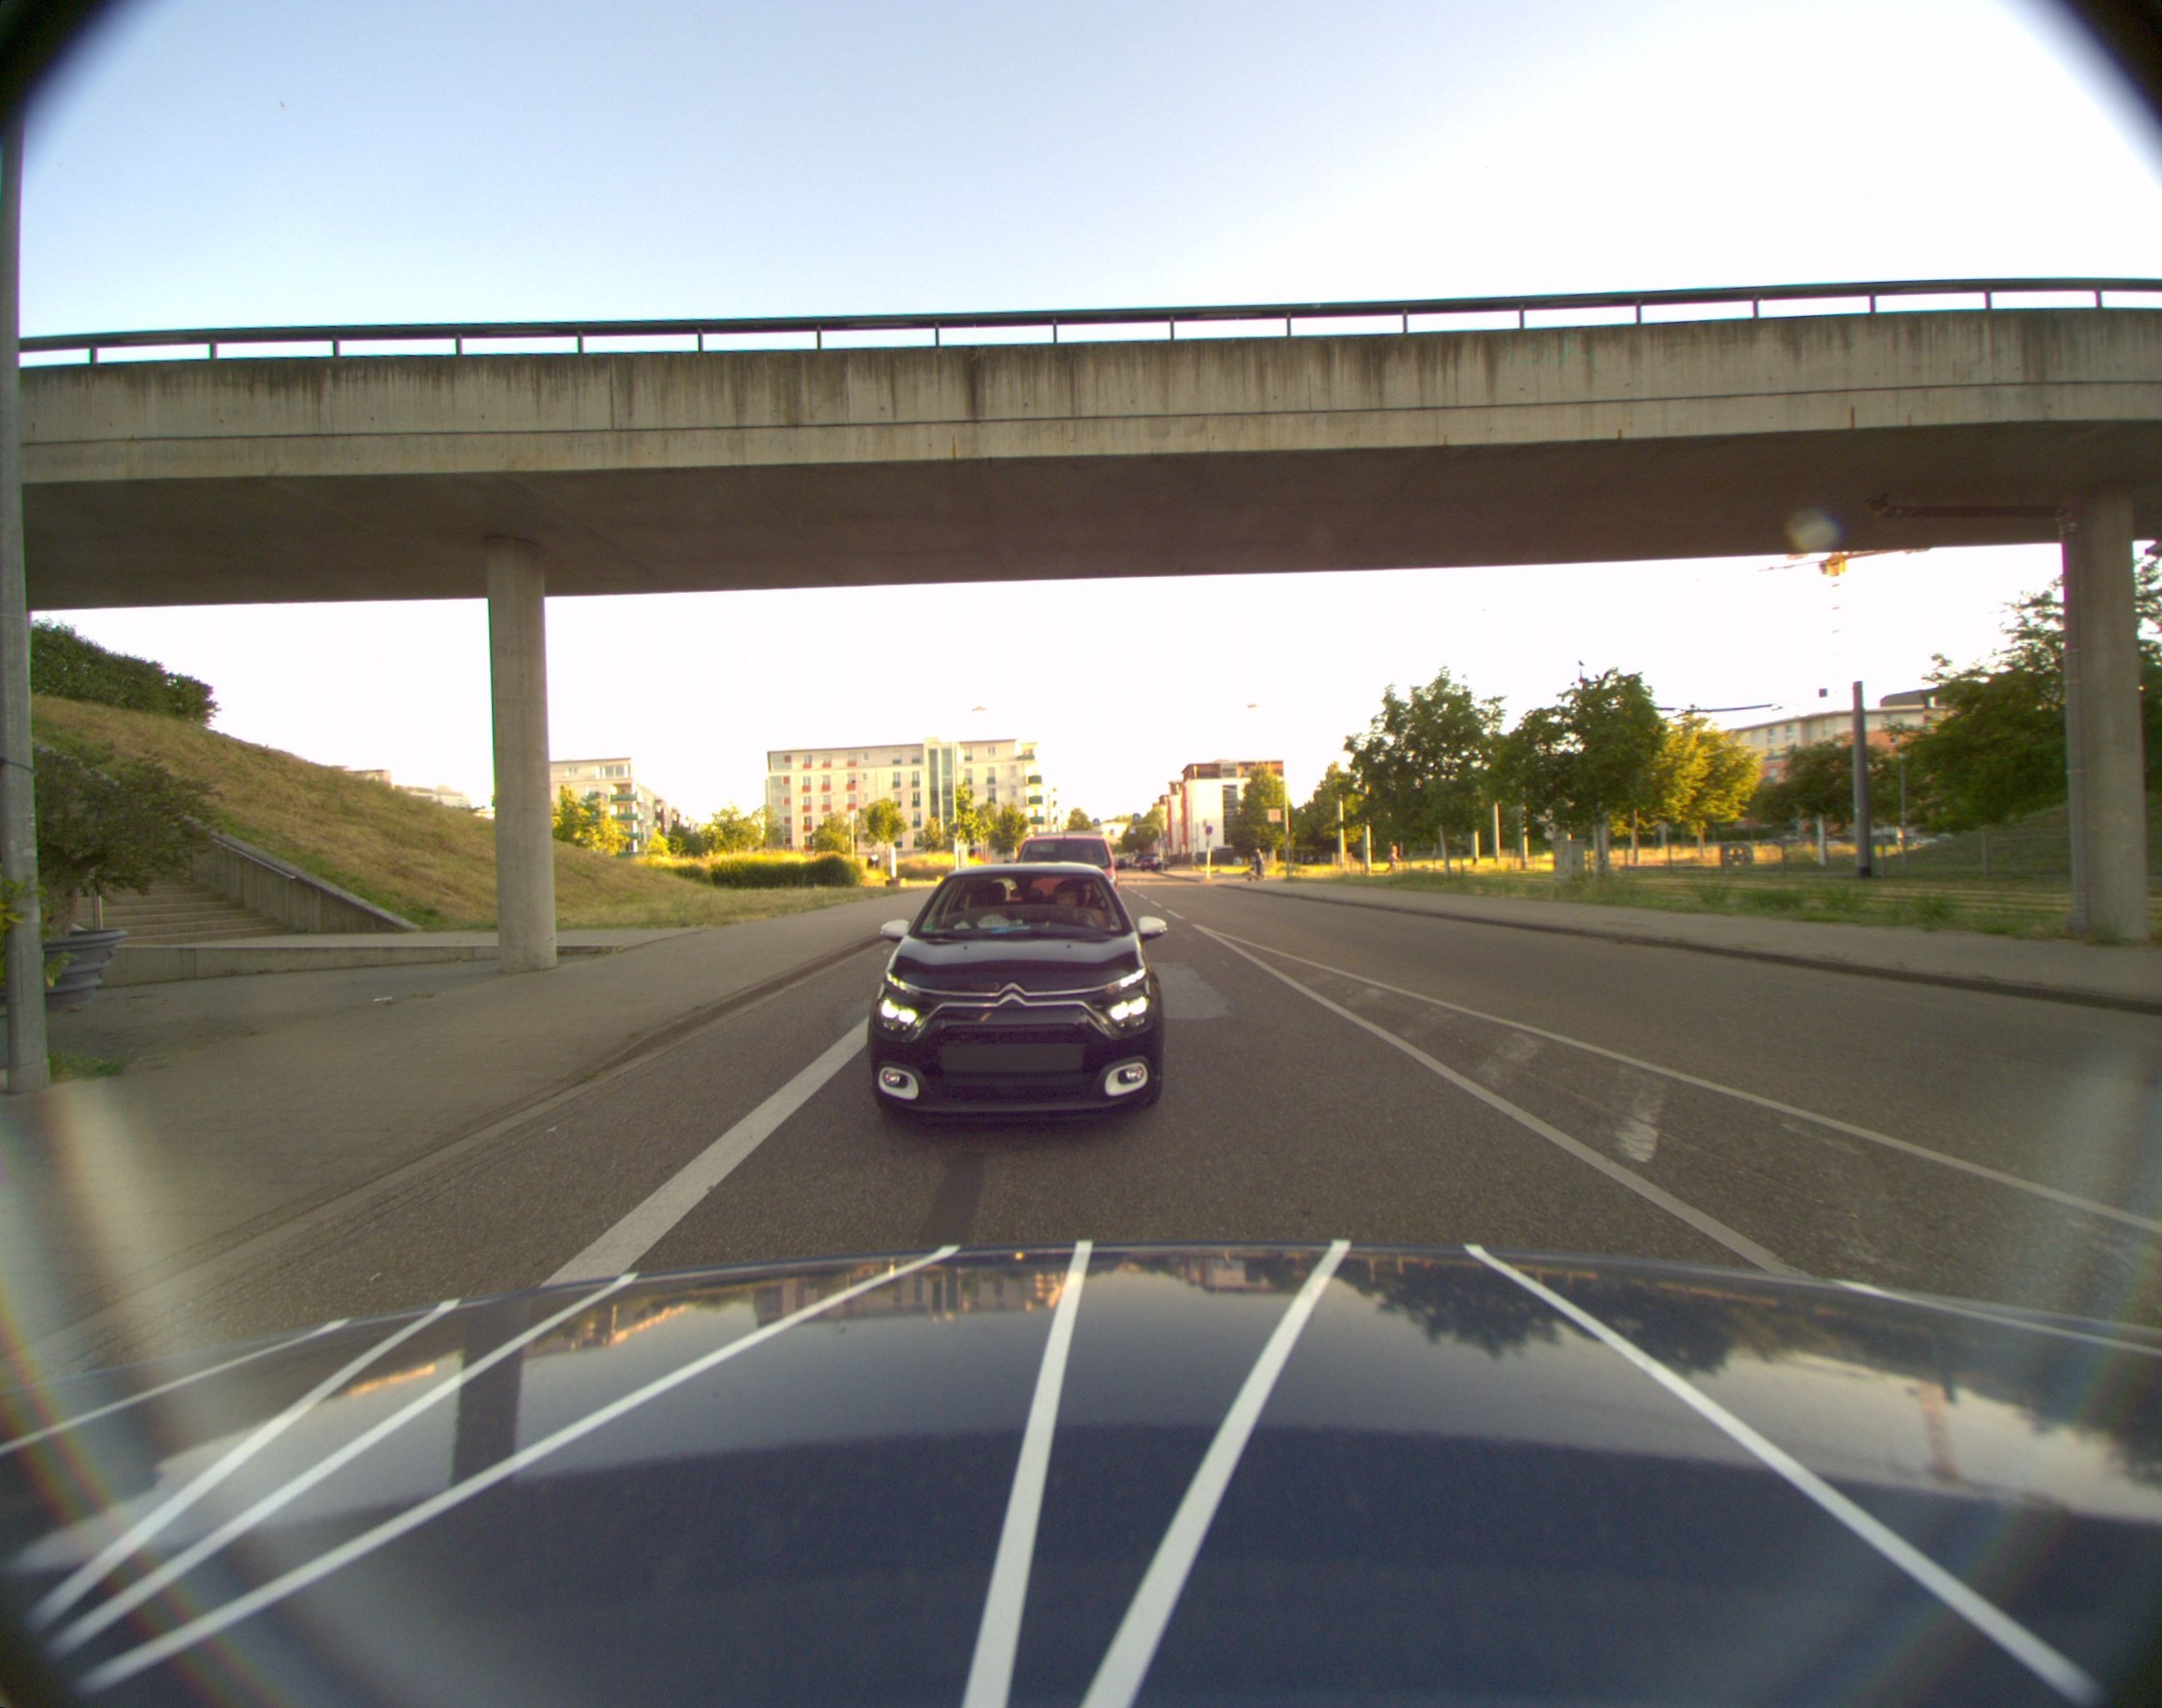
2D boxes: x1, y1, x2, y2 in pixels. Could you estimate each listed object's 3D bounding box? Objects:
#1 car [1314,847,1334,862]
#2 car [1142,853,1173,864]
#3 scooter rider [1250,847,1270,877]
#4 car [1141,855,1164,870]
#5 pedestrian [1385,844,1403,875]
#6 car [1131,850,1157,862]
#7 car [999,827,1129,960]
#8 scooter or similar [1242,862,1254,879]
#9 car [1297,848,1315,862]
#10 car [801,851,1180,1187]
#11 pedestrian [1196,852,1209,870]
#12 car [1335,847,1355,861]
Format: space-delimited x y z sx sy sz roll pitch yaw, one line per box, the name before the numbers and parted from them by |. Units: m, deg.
car | 30.976 0.048 96.846 1.869 1.710 3.848 -2 0 9
car | 11.443 0.664 113.985 4.387 1.550 1.839 -2 1 2
scooter rider | 9.449 0.411 40.180 0.897 1.568 0.712 -2 0 6
car | 8.055 0.914 85.832 1.996 1.554 4.004 -2 0 13
pedestrian | 16.794 0.302 40.736 0.779 1.602 0.417 -2 0 12
car | 11.973 0.375 144.162 4.745 2.002 1.999 -2 1 -2
car | -0.281 0.626 14.278 1.931 1.979 4.822 -3 0 -1
scooter or similar | 8.837 0.868 40.250 0.552 0.890 0.722 -1 1 6
car | 28.703 0.137 97.192 1.869 1.710 3.848 -2 0 12
car | -0.478 0.799 5.686 1.760 1.543 4.071 -2 0 -2
pedestrian | 13.762 0.838 86.317 1.088 2.002 1.141 -2 1 29
car | 33.487 -0.046 96.573 1.869 1.710 3.848 -2 0 12
